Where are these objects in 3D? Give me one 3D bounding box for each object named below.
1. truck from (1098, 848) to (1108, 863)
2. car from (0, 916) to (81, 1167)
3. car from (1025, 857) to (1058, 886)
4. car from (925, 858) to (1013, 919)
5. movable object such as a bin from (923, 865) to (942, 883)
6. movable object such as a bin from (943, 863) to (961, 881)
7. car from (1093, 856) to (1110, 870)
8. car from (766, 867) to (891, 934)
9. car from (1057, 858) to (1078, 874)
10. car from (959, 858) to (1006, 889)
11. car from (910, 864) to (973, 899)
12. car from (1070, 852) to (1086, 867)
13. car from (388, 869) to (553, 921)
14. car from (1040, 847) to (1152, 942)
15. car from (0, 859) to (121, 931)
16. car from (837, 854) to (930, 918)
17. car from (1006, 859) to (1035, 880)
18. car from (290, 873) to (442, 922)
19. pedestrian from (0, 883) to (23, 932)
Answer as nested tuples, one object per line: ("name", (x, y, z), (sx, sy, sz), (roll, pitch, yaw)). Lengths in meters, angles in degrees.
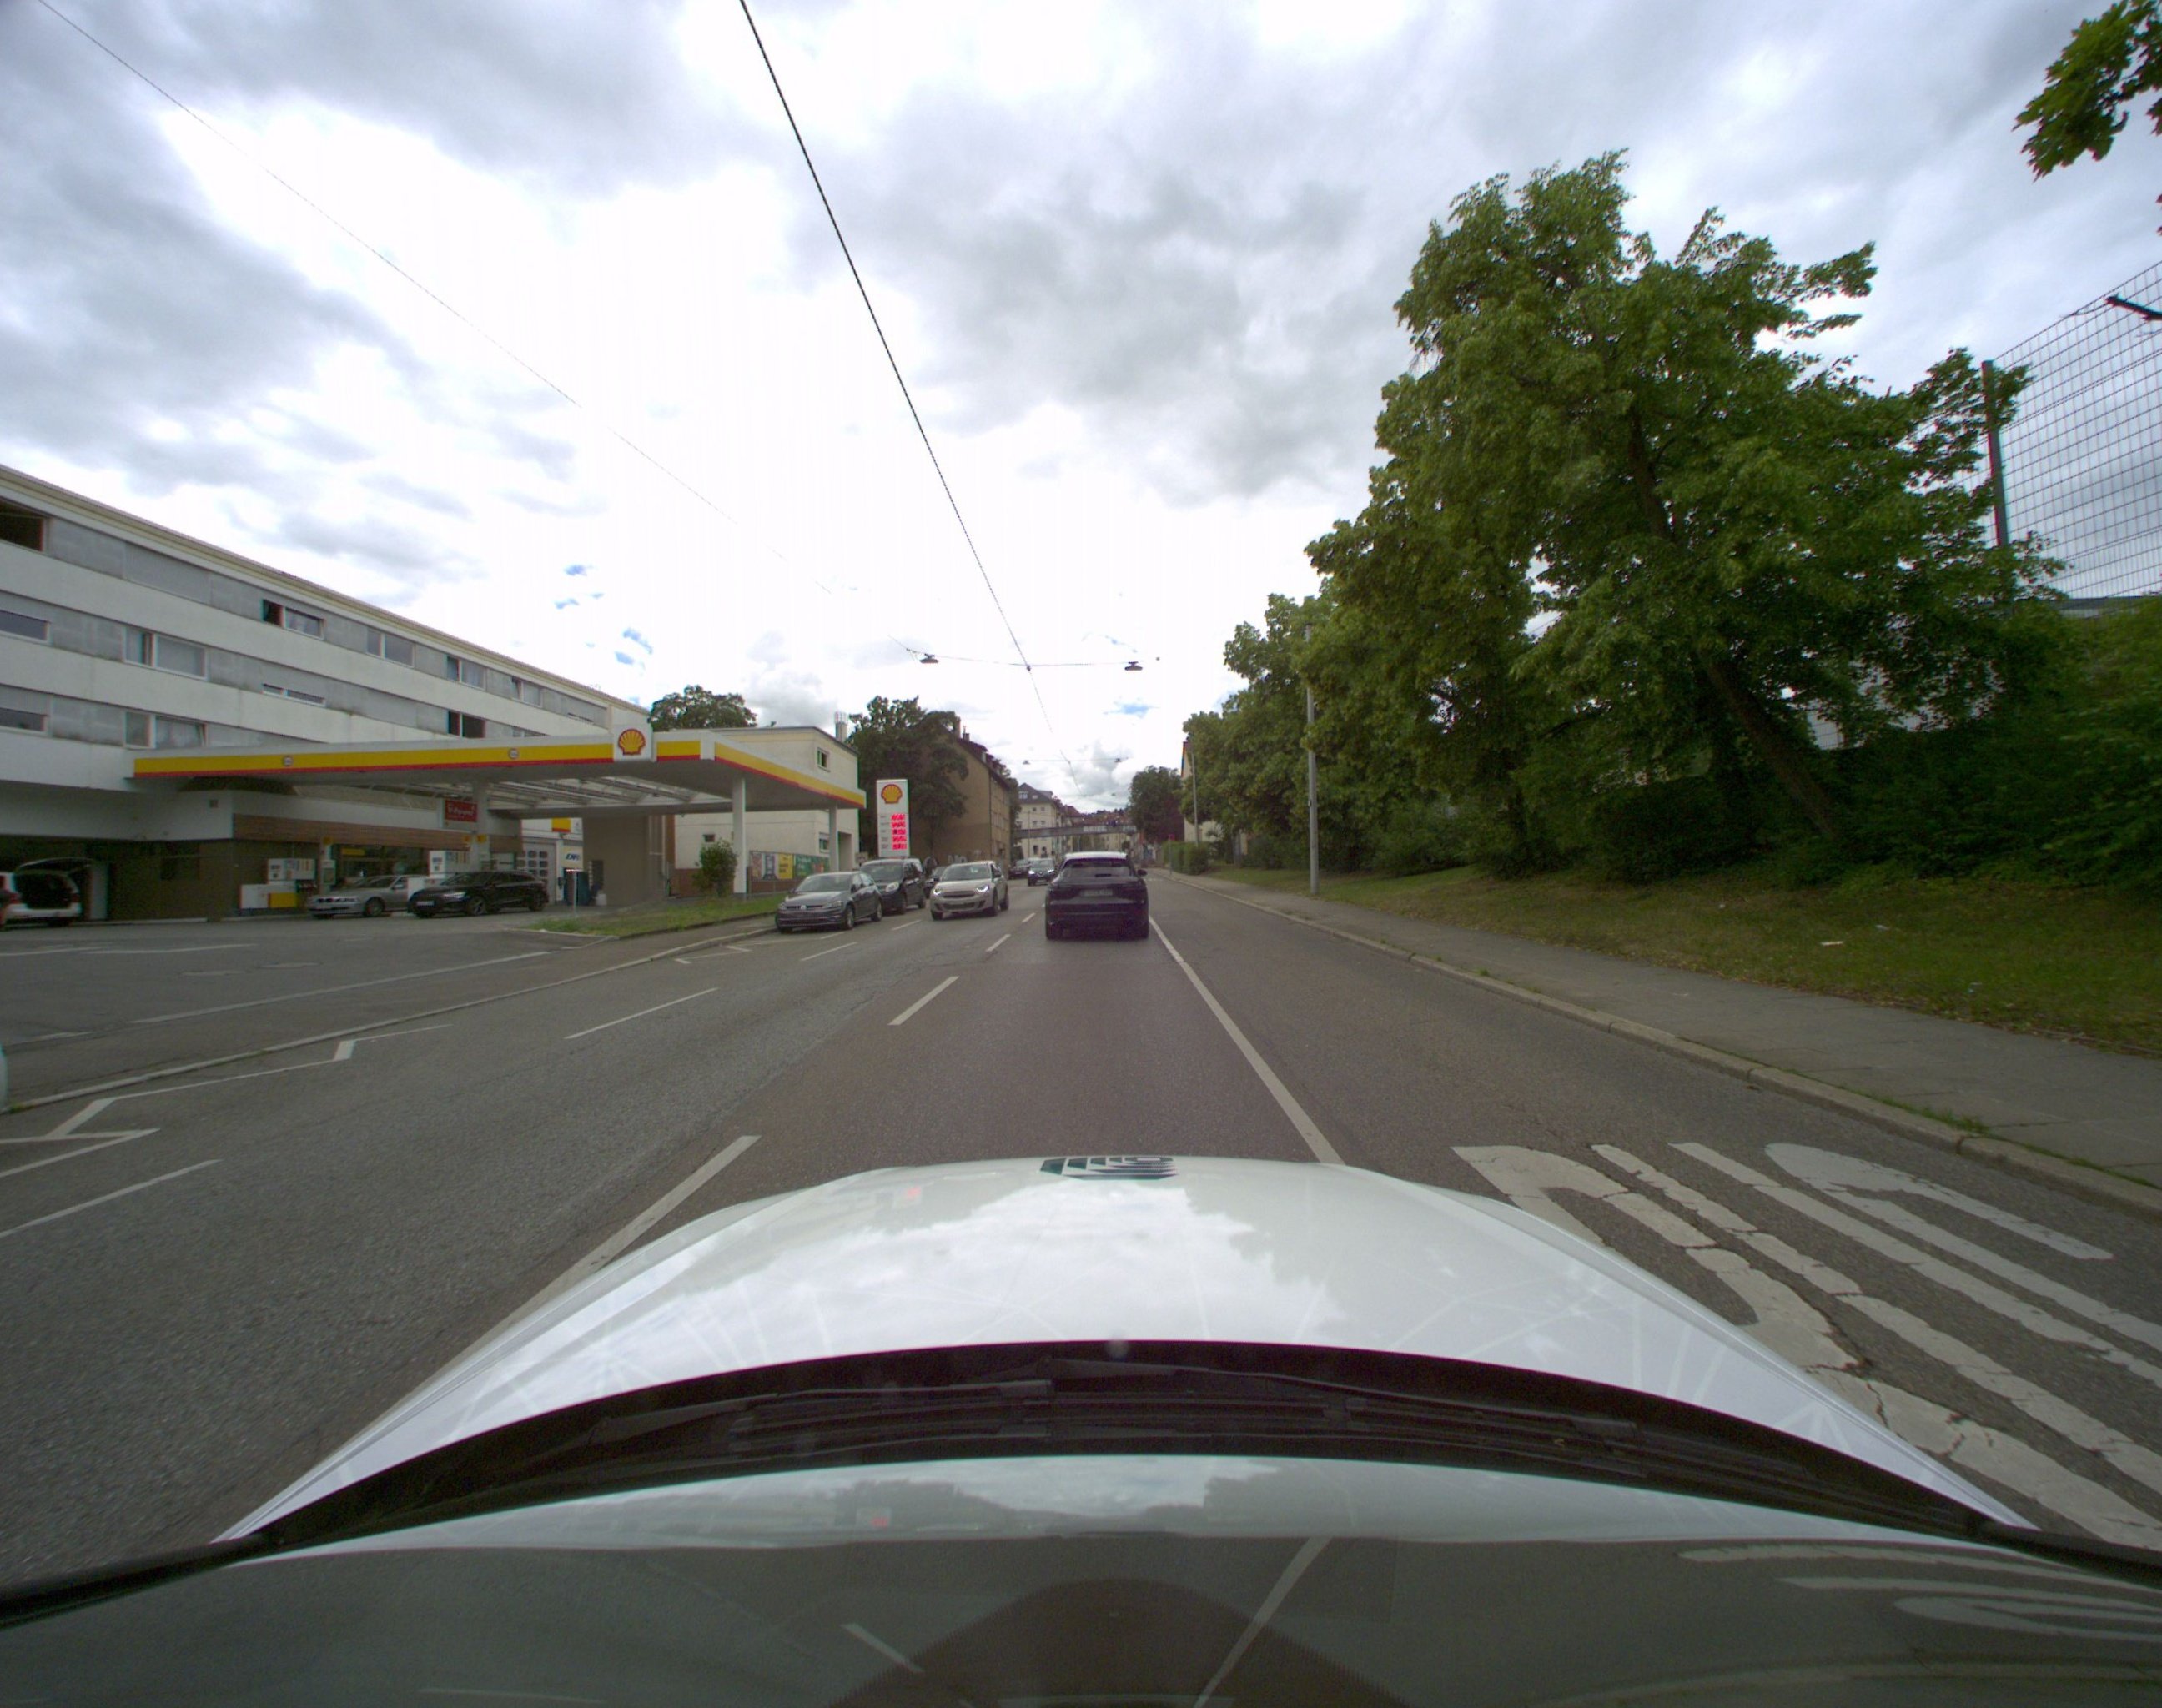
("truck", (5.286, 0.321, 196.019), (2.258, 3.424, 9.881), (-2, -1, 2))
("car", (-7.160, 1.141, 3.280), (1.613, 1.425, 3.667), (-3, 0, 2))
("car", (-2.317, 1.013, 48.736), (1.677, 1.555, 3.719), (-3, 0, 1))
("car", (-3.144, 0.918, 23.584), (1.791, 1.525, 4.001), (-3, 0, 2))
("movable object such as a bin", (-12.258, 1.624, 67.303), (1.388, 1.428, 0.913), (-1, 0, -1))
("movable object such as a bin", (-10.596, 1.498, 67.026), (1.278, 1.428, 1.278), (-1, 0, -3))
("car", (2.258, 0.912, 87.871), (1.734, 1.400, 4.002), (-1, 0, 2))
("car", (-6.495, 1.147, 21.482), (1.784, 1.450, 4.220), (-3, 0, 2))
("car", (-1.360, 1.182, 82.195), (1.771, 1.466, 4.501), (-3, 0, 2))
("car", (-5.637, 1.084, 47.281), (1.908, 1.577, 4.702), (-3, 0, 2))
("car", (-6.469, 1.244, 38.296), (1.790, 1.431, 4.748), (-3, 0, 4))
("car", (-0.423, 0.785, 111.636), (1.924, 1.901, 4.591), (-2, 0, 1))
("car", (-19.087, 1.232, 25.763), (1.791, 1.420, 4.418), (-1, 0, 2))
("car", (0.351, 0.720, 16.728), (1.986, 1.662, 4.002), (-1, 0, 2))
("car", (-30.896, 1.181, 23.642), (3.880, 1.963, 1.836), (-1, -1, 1))
("car", (-6.394, 0.985, 26.925), (1.845, 1.835, 4.701), (-3, 0, 0))
("car", (-5.114, 1.289, 69.262), (1.776, 1.609, 4.267), (-4, 0, 3))
("car", (-23.828, 1.404, 27.334), (1.791, 1.420, 3.637), (-1, 0, 2))
("pedestrian", (-29.439, 1.457, 22.004), (0.661, 1.314, 0.801), (-1, 0, 0))
